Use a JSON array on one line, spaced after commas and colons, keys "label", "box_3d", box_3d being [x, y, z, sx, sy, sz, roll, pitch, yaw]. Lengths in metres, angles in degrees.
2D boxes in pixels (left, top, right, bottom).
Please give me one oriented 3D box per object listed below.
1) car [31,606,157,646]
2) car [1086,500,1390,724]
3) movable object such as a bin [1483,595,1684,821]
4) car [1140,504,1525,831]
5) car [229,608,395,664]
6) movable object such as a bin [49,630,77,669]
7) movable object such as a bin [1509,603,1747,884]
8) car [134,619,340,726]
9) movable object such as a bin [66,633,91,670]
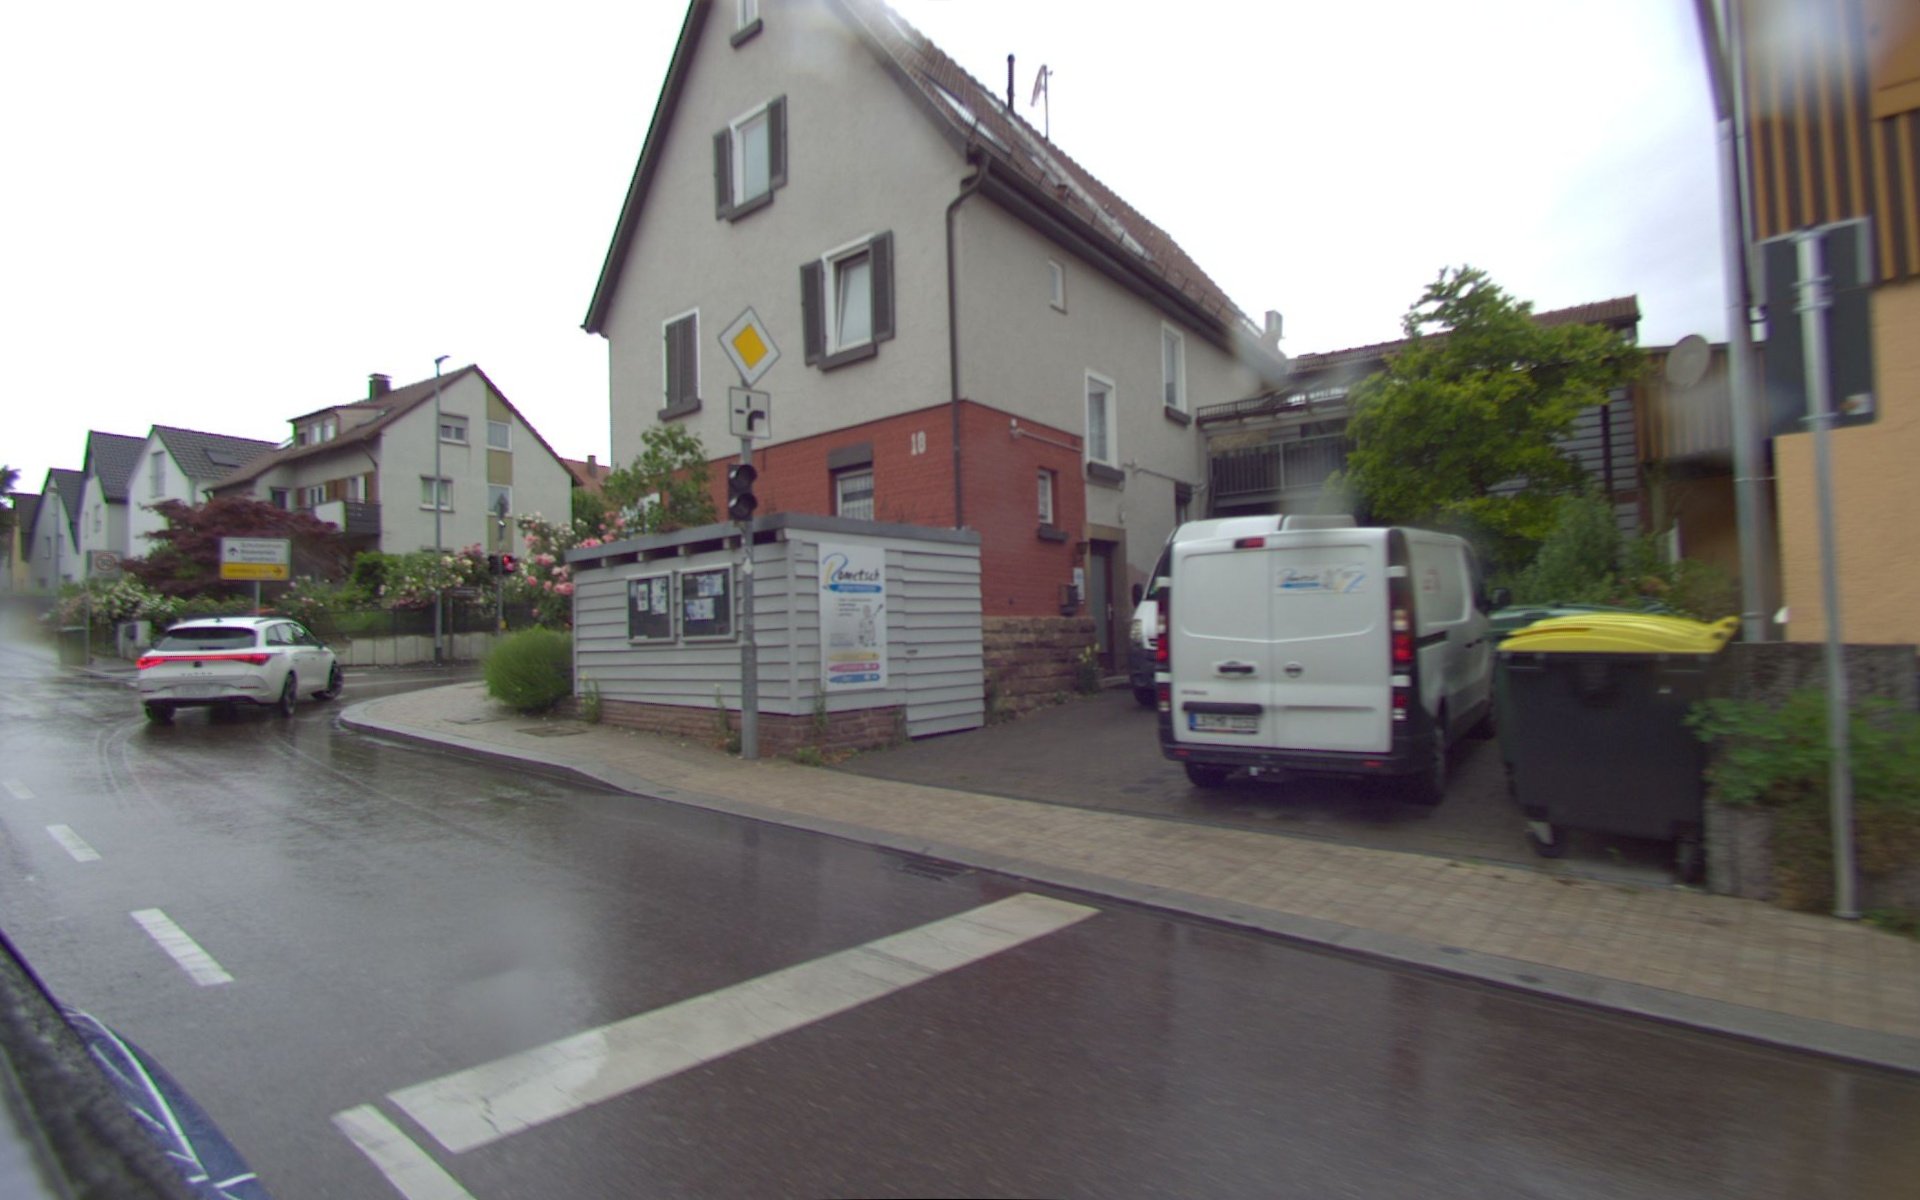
[{"label": "car", "box_3d": [-38.763, 1.121, 45.403, 1.775, 1.719, 3.958, -1, -1, 30]}, {"label": "car", "box_3d": [4.209, 0.076, 14.427, 2.066, 2.547, 5.789, -1, 1, 38]}, {"label": "movable object such as a bin", "box_3d": [4.420, 0.672, 7.130, 0.996, 1.378, 1.491, -1, 0, 39]}, {"label": "car", "box_3d": [3.405, 0.351, 8.579, 1.995, 1.993, 4.472, -3, 1, 34]}, {"label": "car", "box_3d": [-19.999, 1.100, 31.369, 1.717, 1.611, 3.953, 0, -2, 34]}, {"label": "movable object such as a bin", "box_3d": [-25.866, 1.422, 29.185, 0.414, 1.057, 0.515, -1, 2, 43]}, {"label": "movable object such as a bin", "box_3d": [3.847, 0.722, 5.796, 0.996, 1.378, 1.273, -1, -2, 39]}, {"label": "car", "box_3d": [-10.960, 1.022, 15.667, 1.564, 1.419, 4.223, 2, -2, -21]}, {"label": "movable object such as a bin", "box_3d": [-25.282, 1.467, 29.024, 0.414, 1.034, 0.514, -1, -1, 43]}]
